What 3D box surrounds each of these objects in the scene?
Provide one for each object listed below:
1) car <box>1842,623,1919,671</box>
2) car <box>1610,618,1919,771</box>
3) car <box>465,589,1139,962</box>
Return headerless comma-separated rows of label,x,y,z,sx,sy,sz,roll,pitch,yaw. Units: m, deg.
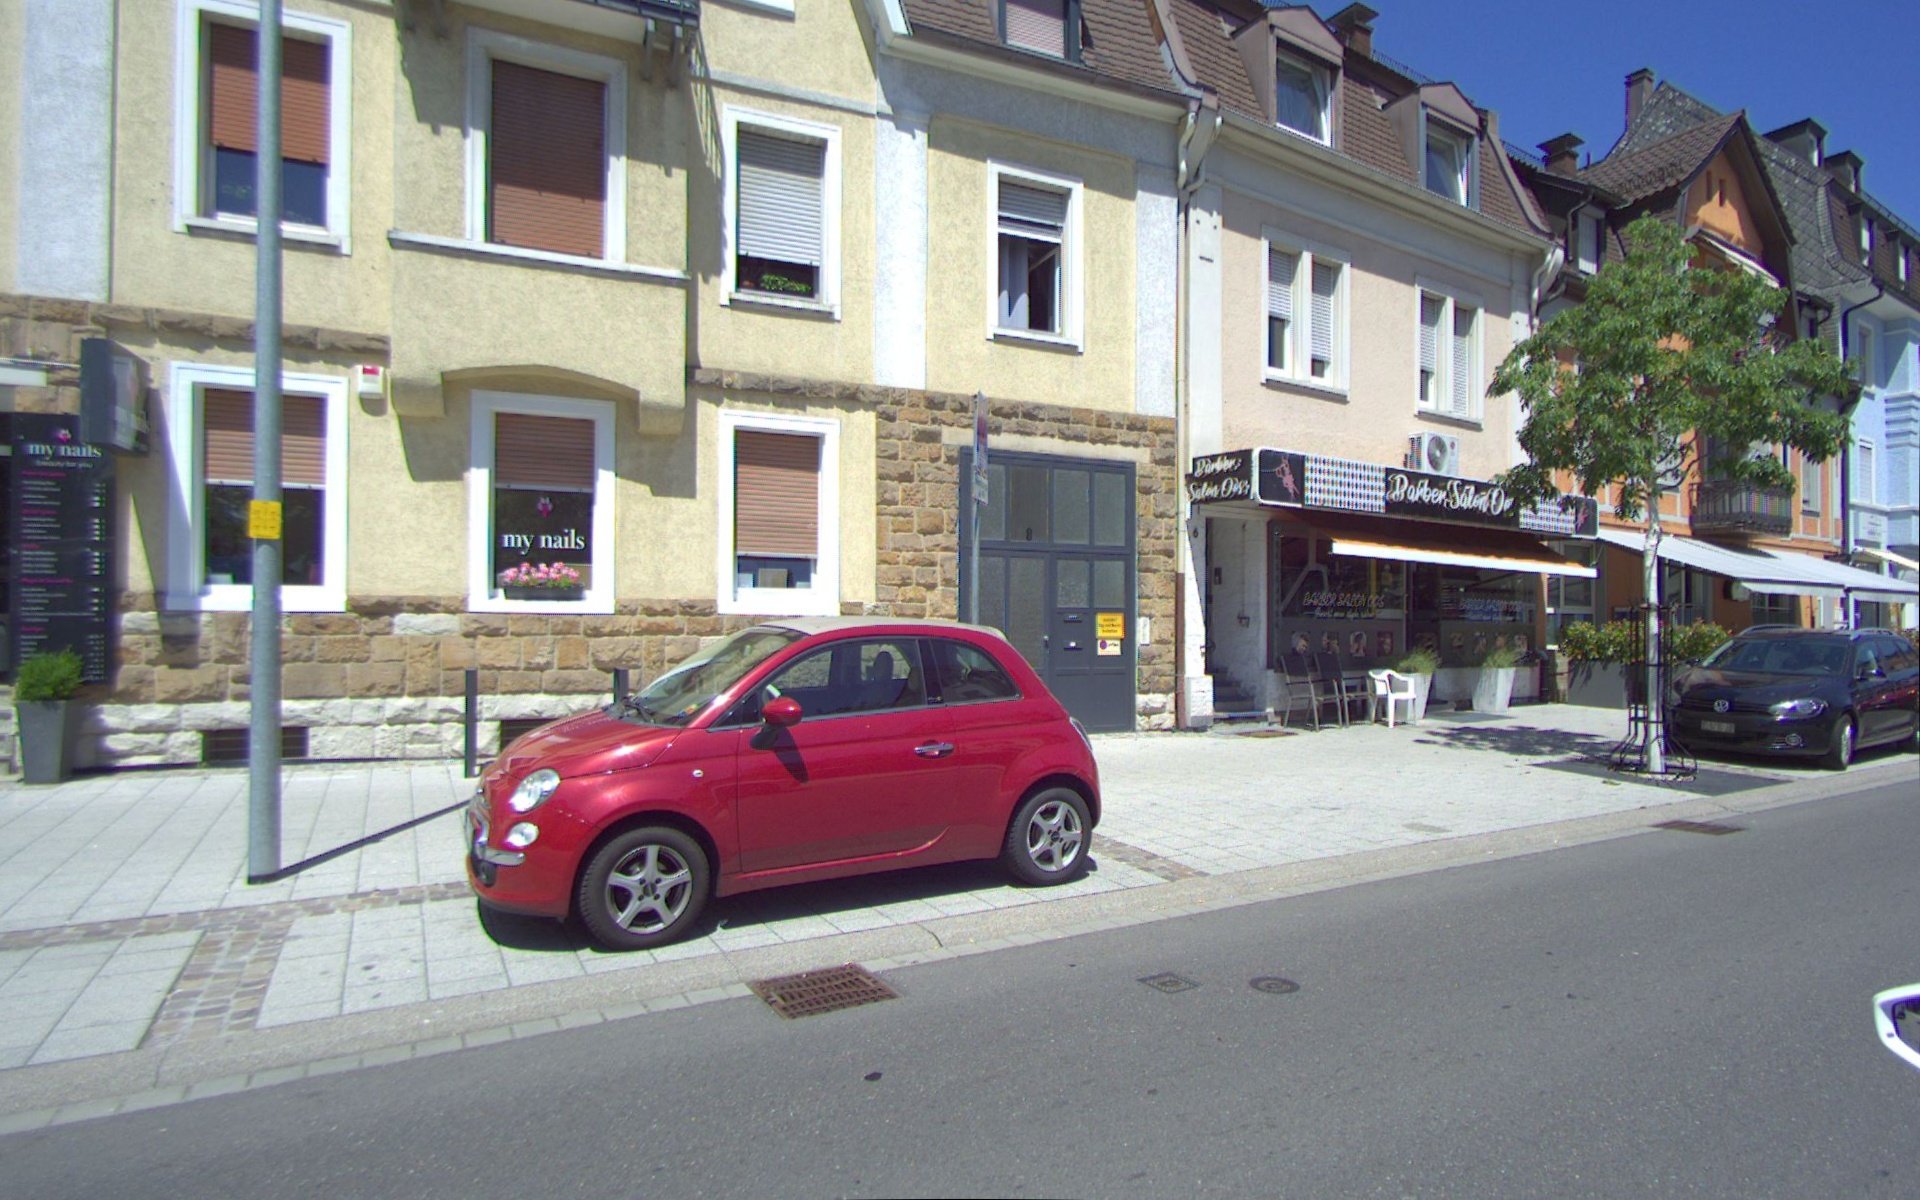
car,39.592,1.927,41.696,1.735,1.900,4.215,-1,0,-17
car,10.046,1.013,12.238,4.289,1.501,1.905,1,1,-32
car,-0.814,0.780,5.744,3.476,1.541,1.551,2,-1,-32
